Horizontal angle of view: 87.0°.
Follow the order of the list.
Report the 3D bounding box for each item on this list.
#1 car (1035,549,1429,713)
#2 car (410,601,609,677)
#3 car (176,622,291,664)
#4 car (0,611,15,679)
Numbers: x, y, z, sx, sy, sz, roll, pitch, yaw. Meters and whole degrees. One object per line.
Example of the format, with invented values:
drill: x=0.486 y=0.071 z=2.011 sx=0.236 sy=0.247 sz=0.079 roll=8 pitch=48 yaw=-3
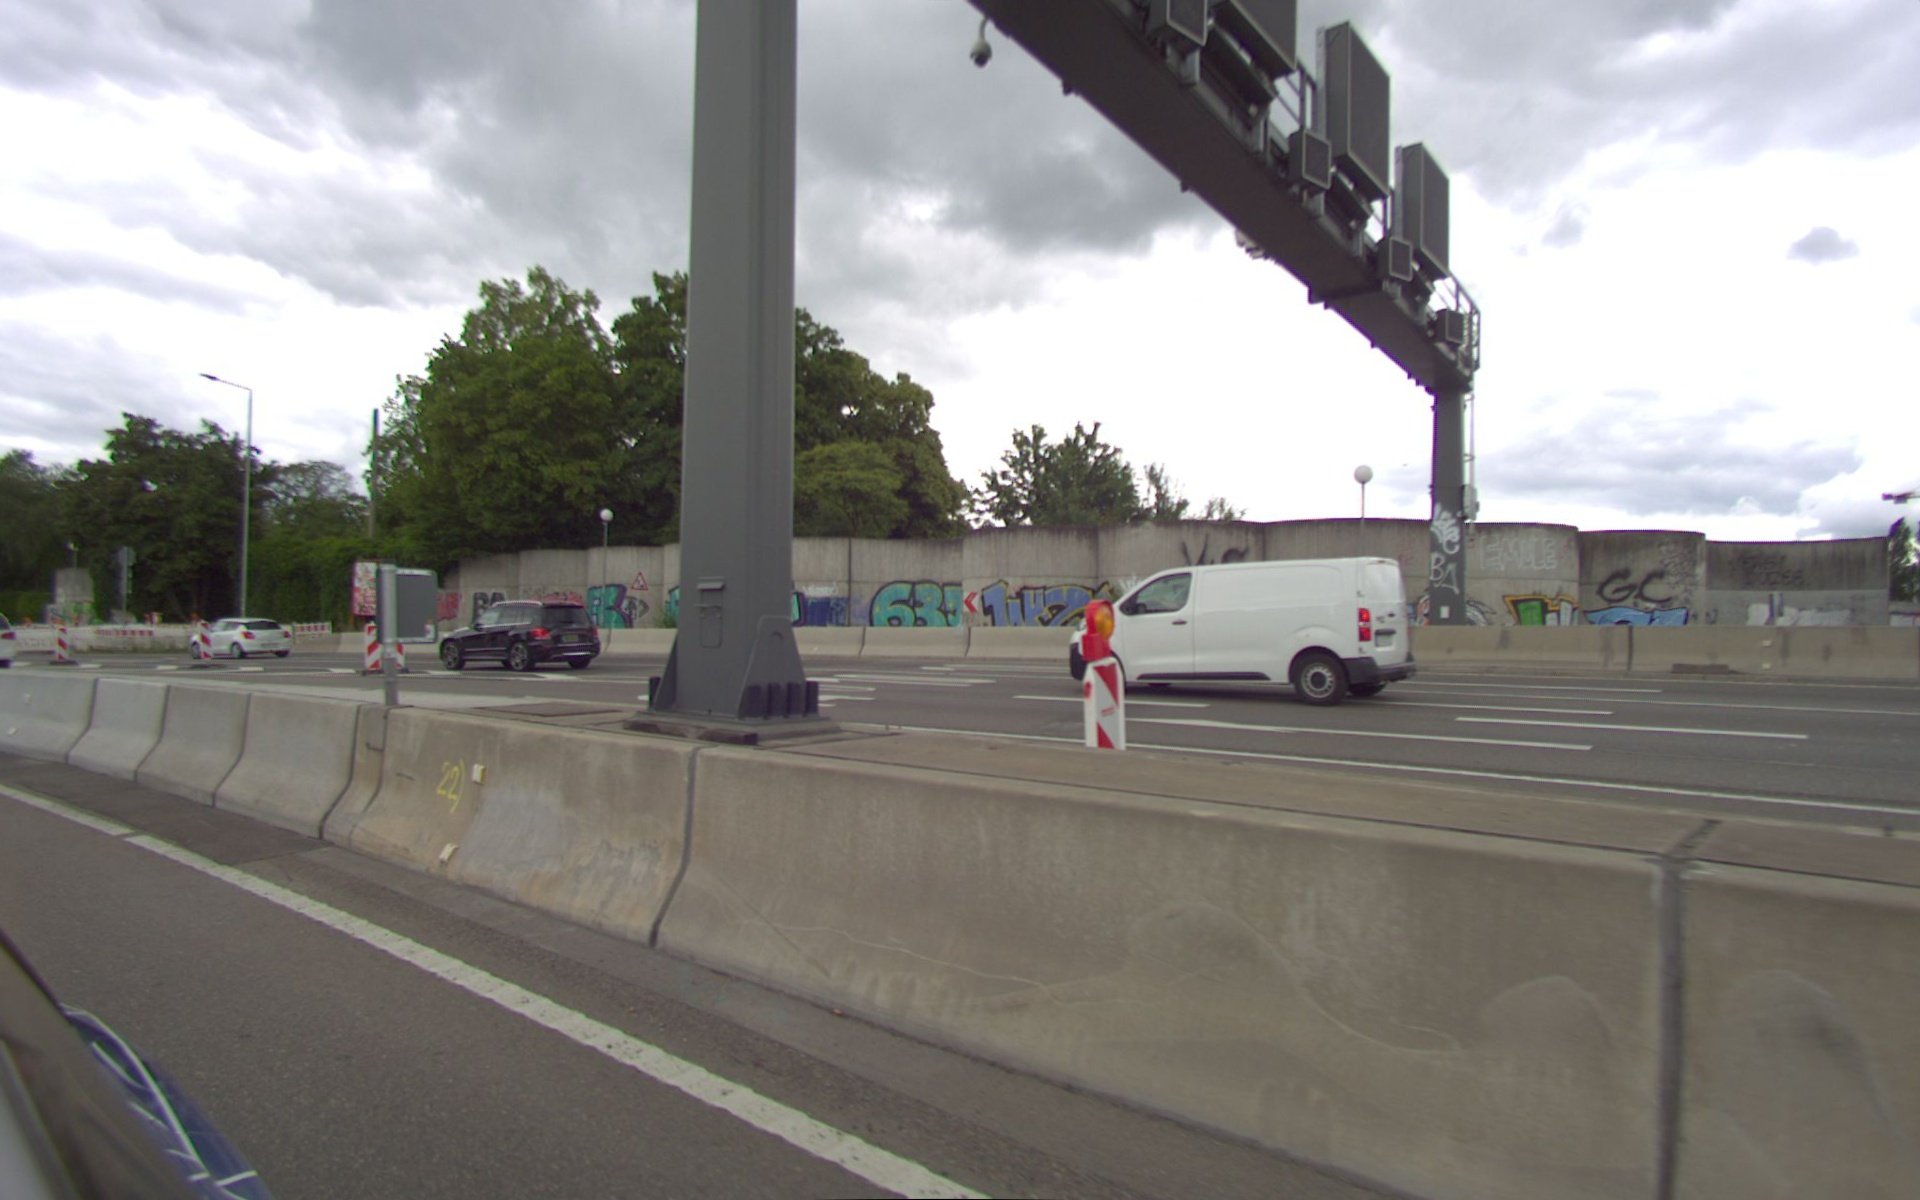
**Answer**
car: x=3.786 y=0.415 z=14.724 sx=5.102 sy=1.966 sz=2.214 roll=-1 pitch=-1 yaw=41
car: x=-11.129 y=0.916 z=24.906 sx=4.907 sy=1.708 sz=1.980 roll=-1 pitch=-1 yaw=30
car: x=-26.411 y=1.514 z=36.758 sx=4.125 sy=1.445 sz=1.749 roll=0 pitch=-1 yaw=28
car: x=-27.730 y=1.178 z=26.920 sx=5.243 sy=1.763 sz=1.940 roll=0 pitch=-1 yaw=25
